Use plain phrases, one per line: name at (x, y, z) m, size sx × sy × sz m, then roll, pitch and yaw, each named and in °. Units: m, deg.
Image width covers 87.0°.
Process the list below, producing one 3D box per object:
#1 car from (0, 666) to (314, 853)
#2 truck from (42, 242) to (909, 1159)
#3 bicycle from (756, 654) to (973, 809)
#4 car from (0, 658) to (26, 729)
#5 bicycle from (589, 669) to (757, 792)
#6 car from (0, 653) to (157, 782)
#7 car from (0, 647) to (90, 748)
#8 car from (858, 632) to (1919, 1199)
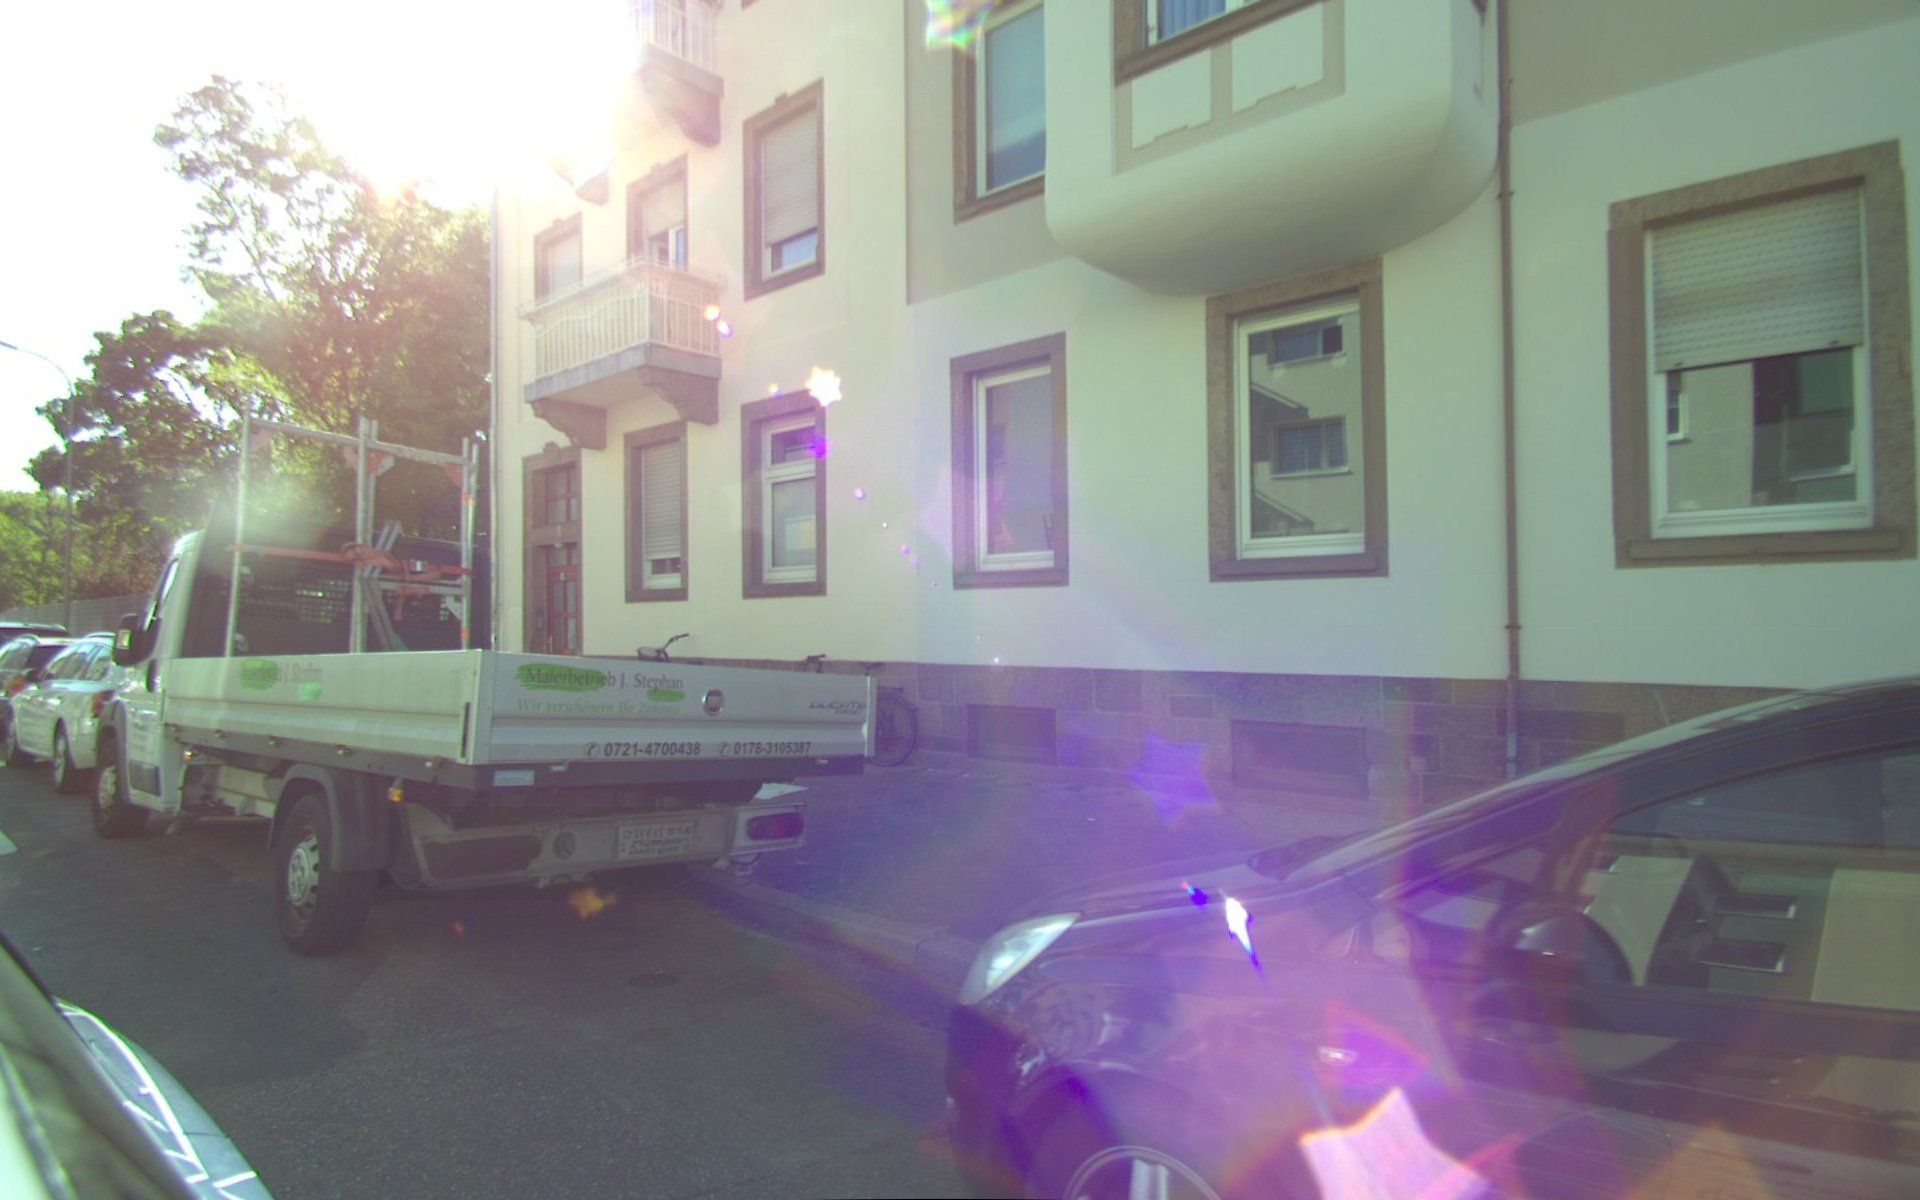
car at (-8.804, 1.537, 10.748) m, size 4.636 × 1.553 × 1.774 m, roll -3°, pitch -8°, yaw 39°
truck at (-3.749, 0.394, 6.531) m, size 7.270 × 3.009 × 2.236 m, roll -1°, pitch -2°, yaw 40°
bicycle at (-0.964, 1.171, 9.546) m, size 2.339 × 1.289 × 0.563 m, roll -3°, pitch -3°, yaw 41°
car at (-22.741, 2.072, 22.849) m, size 4.498 × 1.482 × 1.776 m, roll -2°, pitch -4°, yaw 40°
bicycle at (-3.263, 1.402, 11.345) m, size 2.339 × 1.213 × 0.623 m, roll -3°, pitch -3°, yaw 41°
car at (-13.380, 1.599, 14.778) m, size 4.458 × 1.575 × 1.773 m, roll -1°, pitch -4°, yaw 42°
car at (-18.057, 1.743, 19.021) m, size 4.929 × 1.676 × 1.859 m, roll -2°, pitch -3°, yaw 41°
car at (1.892, 0.821, 1.509) m, size 4.076 × 1.427 × 1.629 m, roll -1°, pitch -5°, yaw 39°
